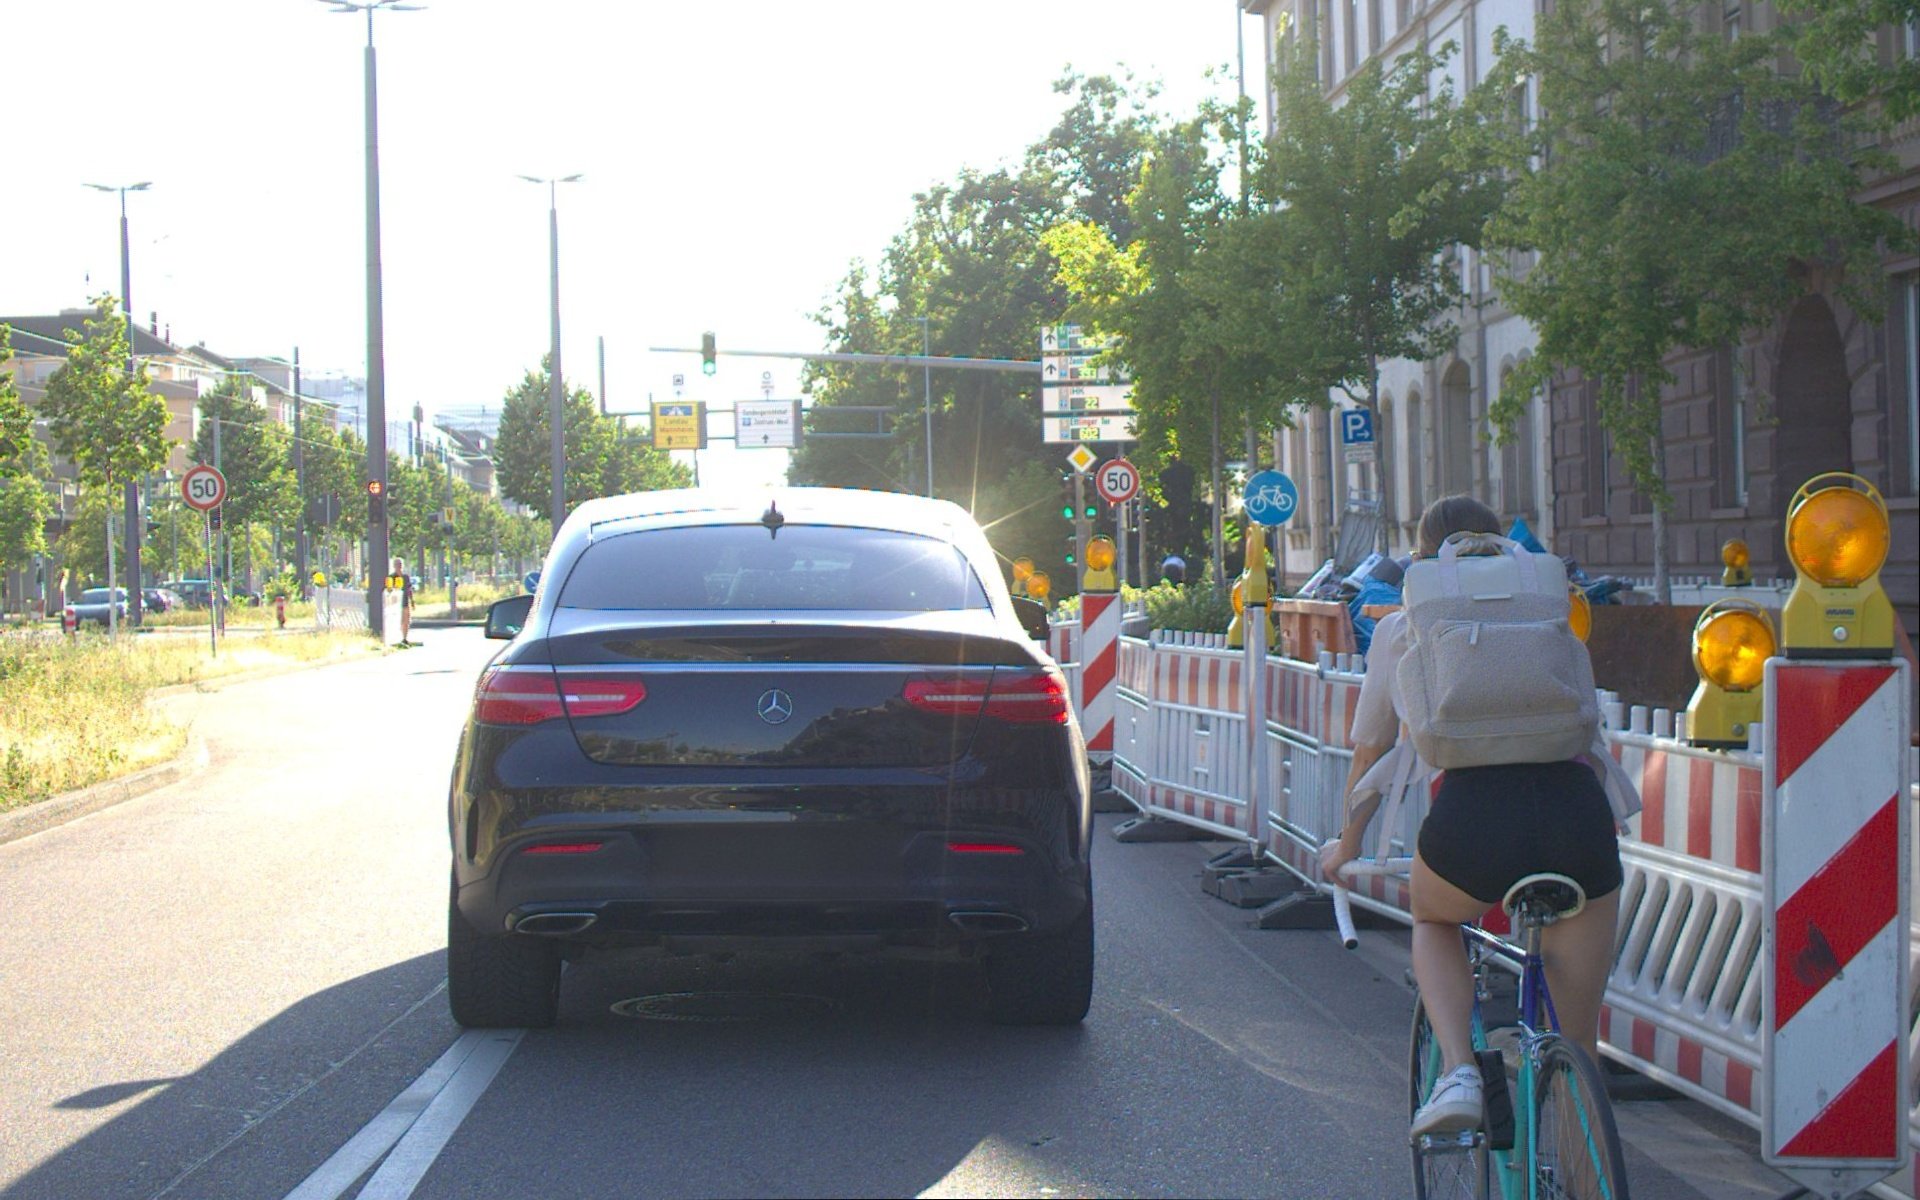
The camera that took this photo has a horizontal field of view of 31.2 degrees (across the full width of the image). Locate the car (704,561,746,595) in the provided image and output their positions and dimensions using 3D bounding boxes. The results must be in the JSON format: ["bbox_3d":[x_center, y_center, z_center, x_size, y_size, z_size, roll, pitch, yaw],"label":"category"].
[{"bbox_3d":[-10.237,-0.960,149.988,1.708,1.437,3.583,0,1,-2],"label":"car"}]

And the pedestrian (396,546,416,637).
[{"bbox_3d":[-10.738,-0.165,66.587,0.334,1.757,0.418,0,0,-2],"label":"pedestrian"}]

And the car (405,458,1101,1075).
[{"bbox_3d":[-0.596,0.454,11.853,1.993,1.766,4.000,0,1,0],"label":"car"}]

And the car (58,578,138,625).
[{"bbox_3d":[-26.730,0.035,106.733,1.708,1.437,3.583,0,1,-2],"label":"car"}]

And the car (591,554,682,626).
[{"bbox_3d":[-6.877,-0.233,73.383,1.708,1.437,3.583,-1,1,-2],"label":"car"}]

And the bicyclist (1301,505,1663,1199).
[{"bbox_3d":[0.915,0.531,6.132,0.523,1.391,0.615,0,0,-3],"label":"bicyclist"}]

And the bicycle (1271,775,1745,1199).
[{"bbox_3d":[0.943,0.898,6.289,0.512,1.048,1.725,0,1,-3],"label":"bicycle"}]
